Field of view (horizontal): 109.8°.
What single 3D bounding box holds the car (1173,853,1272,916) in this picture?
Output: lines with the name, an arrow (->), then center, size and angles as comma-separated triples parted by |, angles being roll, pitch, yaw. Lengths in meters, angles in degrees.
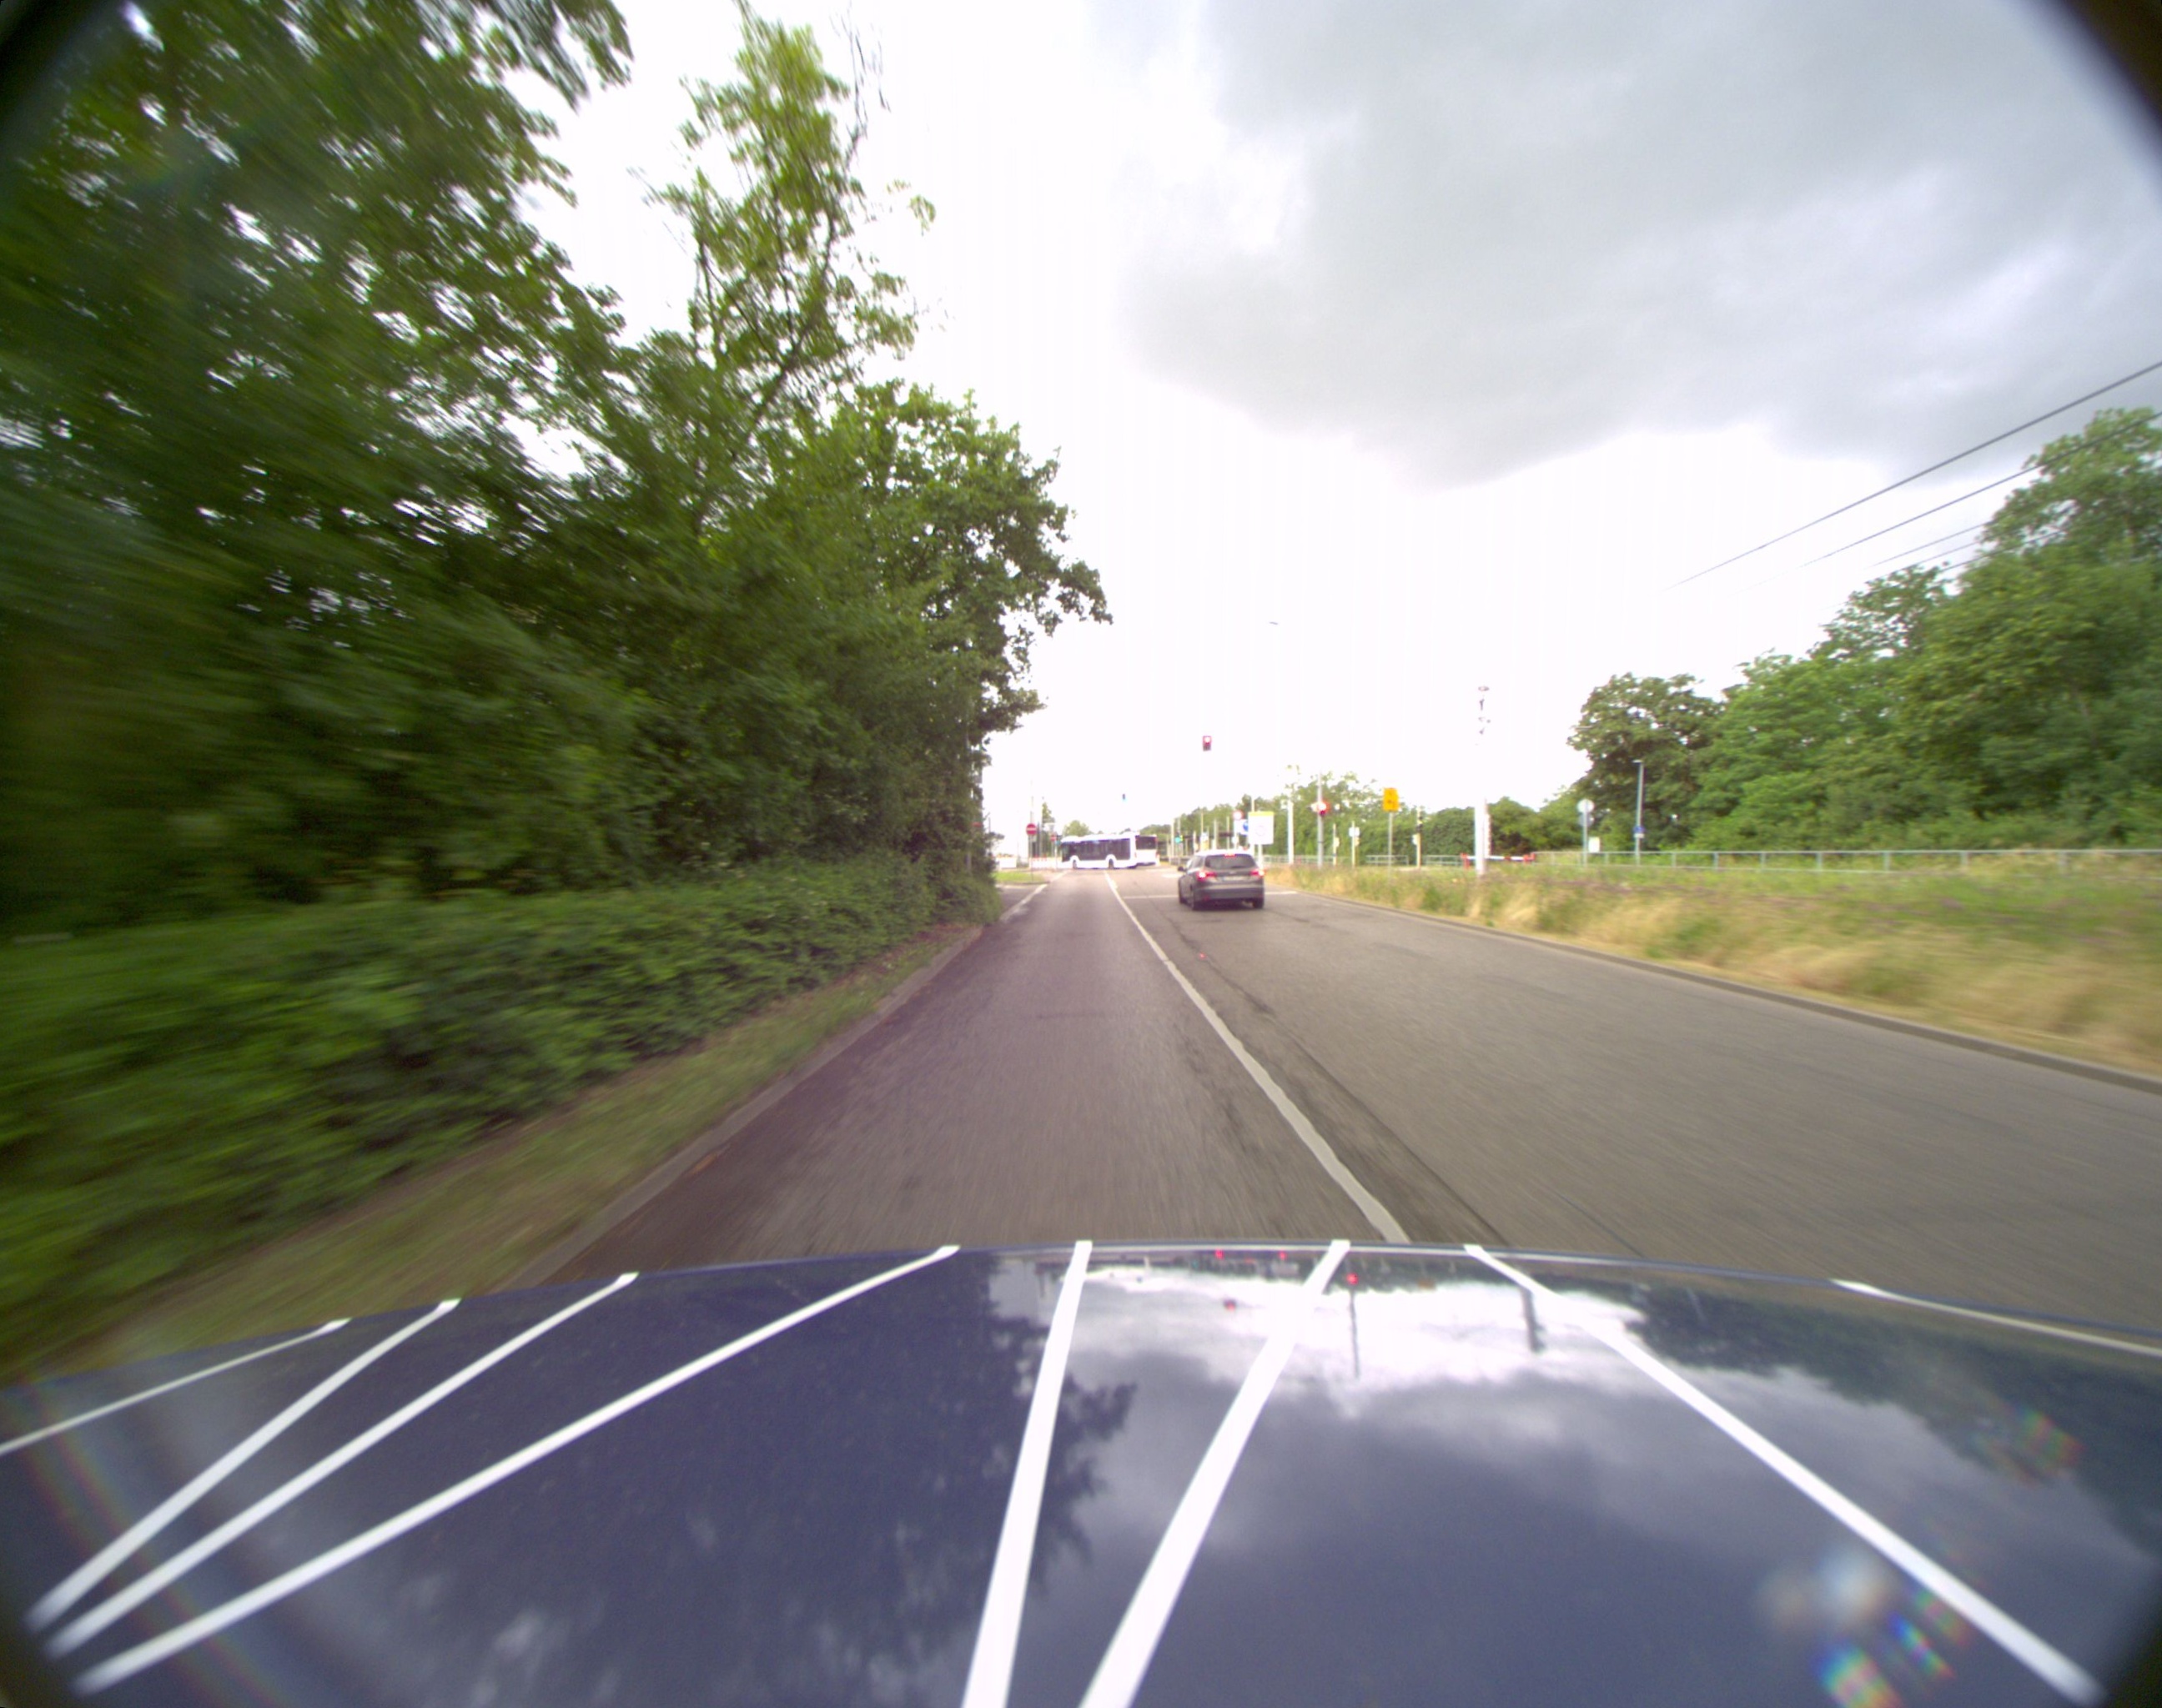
car -> 3.594, 0.712, 20.112 | 1.760, 1.426, 4.428 | -1, 0, 0

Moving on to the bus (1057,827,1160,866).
bus -> 2.179, -0.636, 68.589 | 2.679, 3.184, 12.167 | -2, 1, -34

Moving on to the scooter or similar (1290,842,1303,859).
scooter or similar -> 15.584, -0.250, 54.990 | 0.412, 1.264, 1.268 | -1, 1, -10
